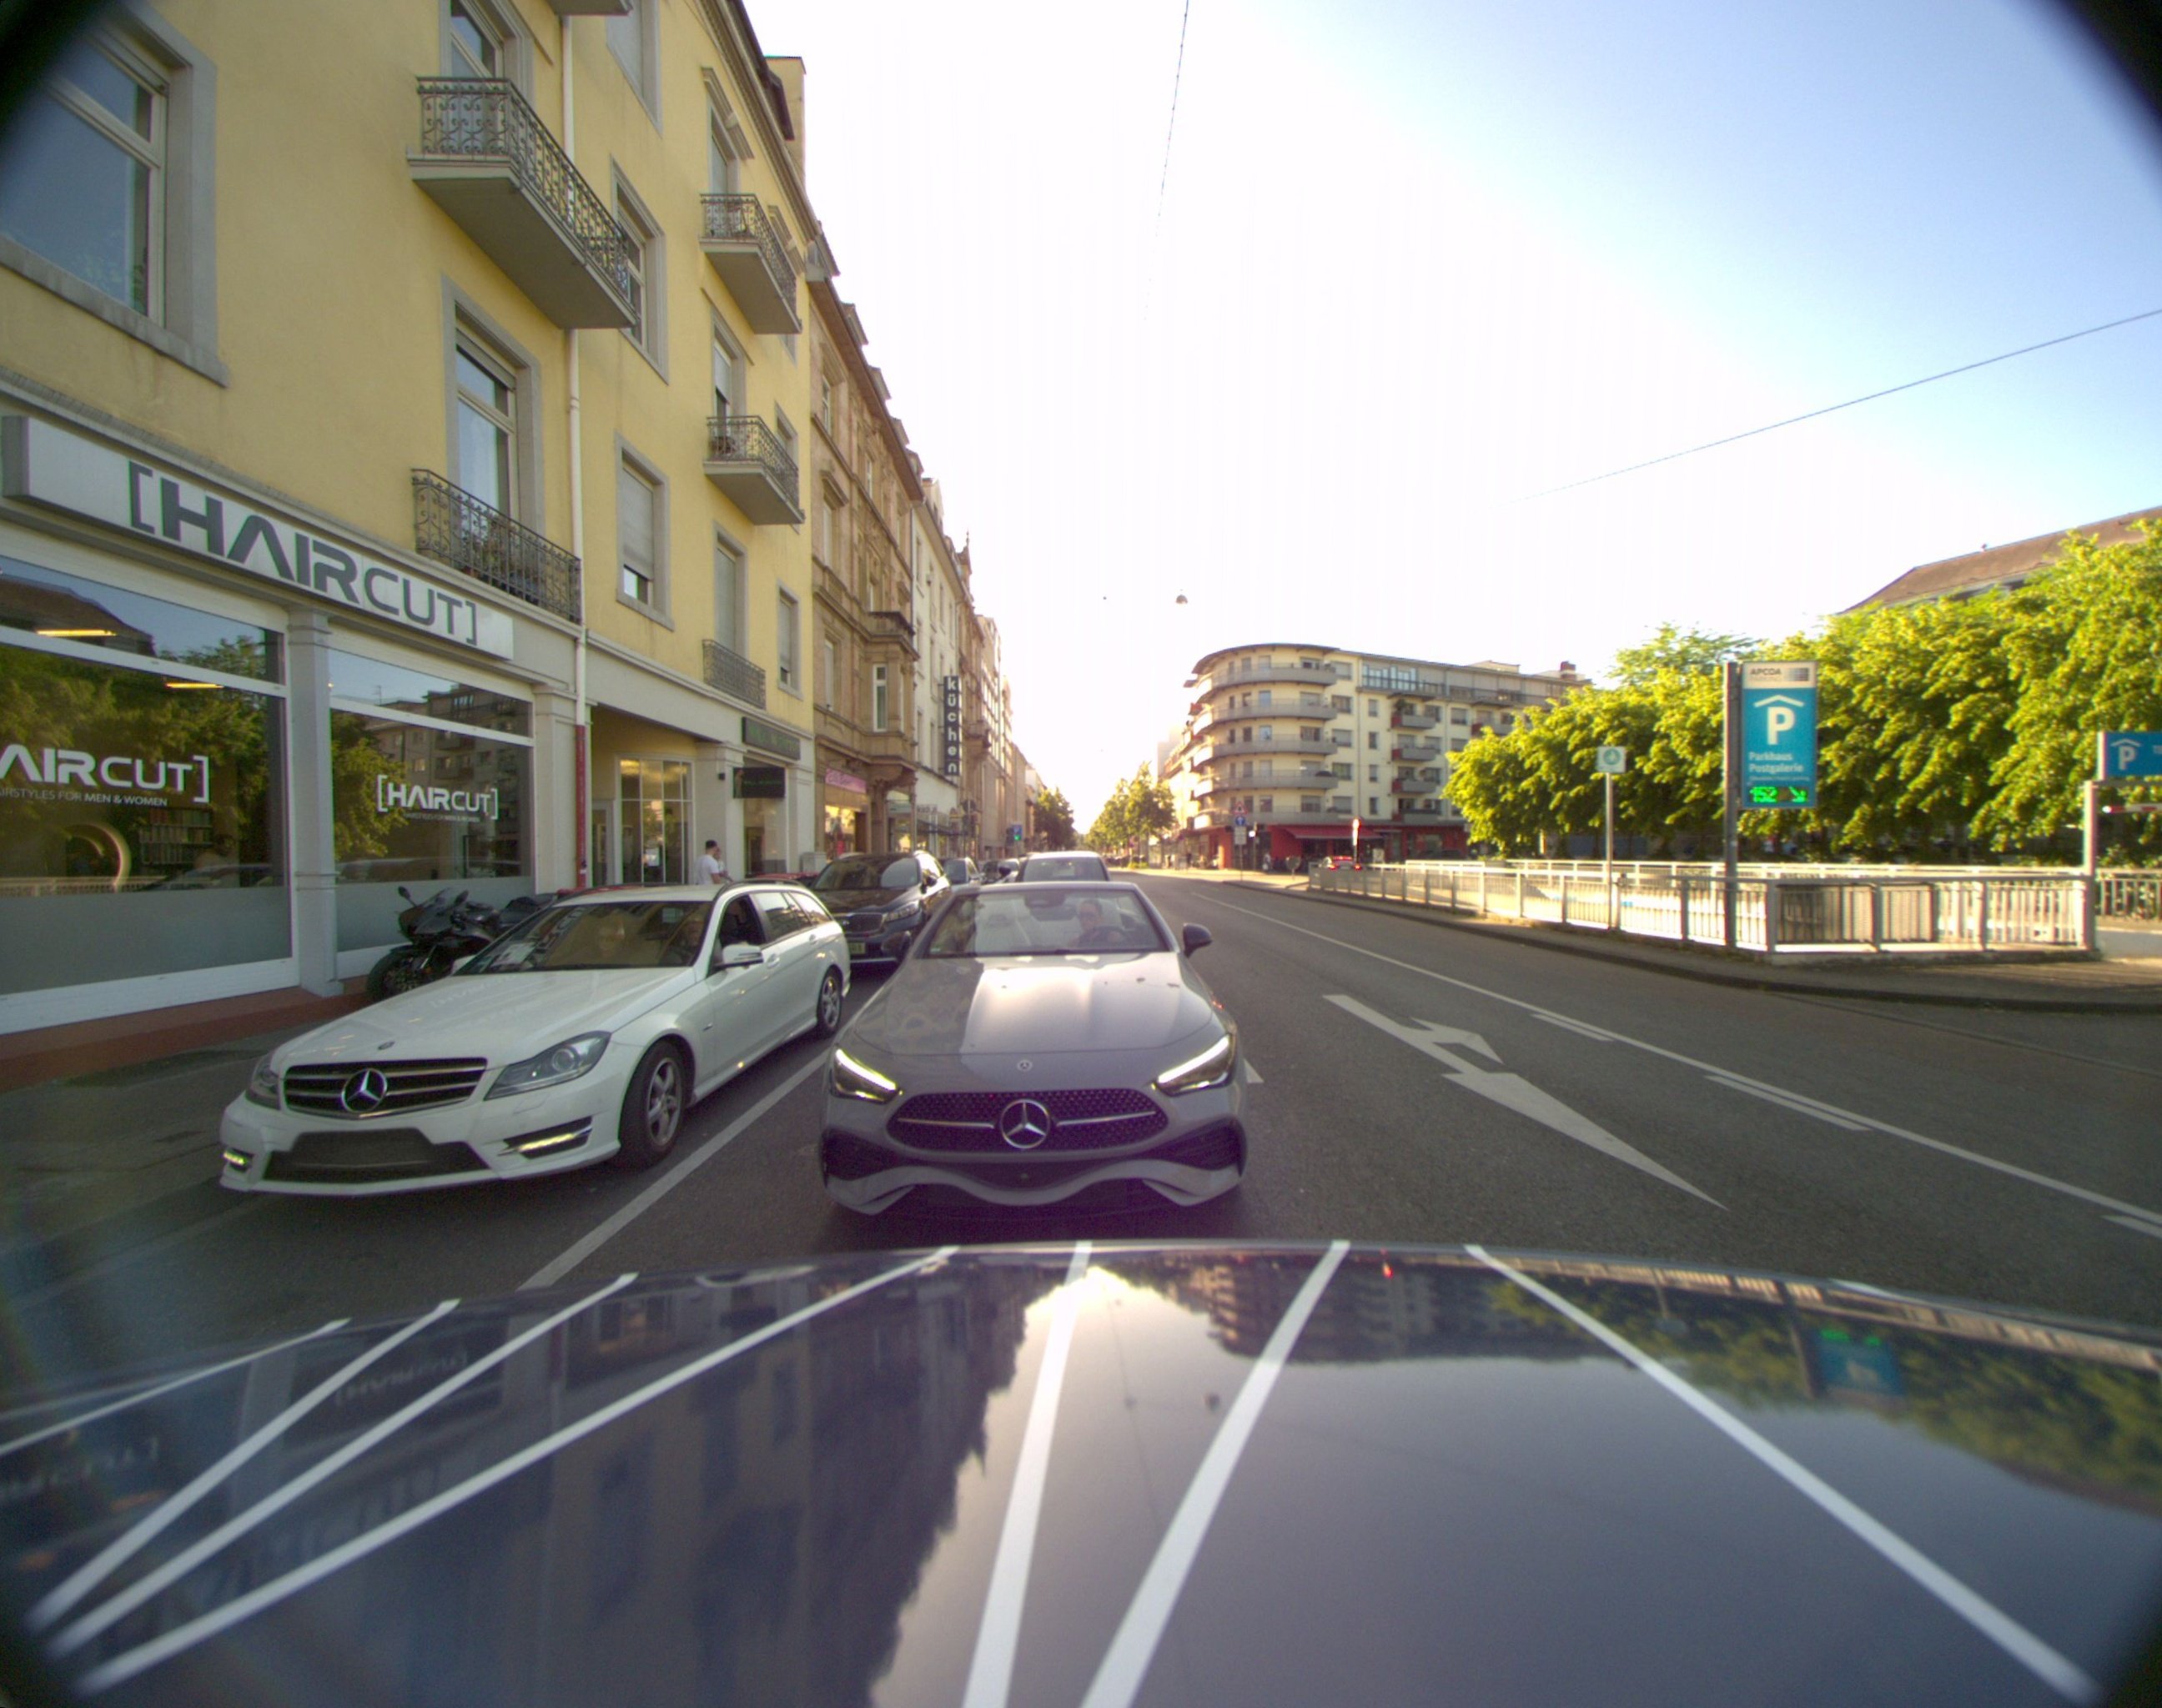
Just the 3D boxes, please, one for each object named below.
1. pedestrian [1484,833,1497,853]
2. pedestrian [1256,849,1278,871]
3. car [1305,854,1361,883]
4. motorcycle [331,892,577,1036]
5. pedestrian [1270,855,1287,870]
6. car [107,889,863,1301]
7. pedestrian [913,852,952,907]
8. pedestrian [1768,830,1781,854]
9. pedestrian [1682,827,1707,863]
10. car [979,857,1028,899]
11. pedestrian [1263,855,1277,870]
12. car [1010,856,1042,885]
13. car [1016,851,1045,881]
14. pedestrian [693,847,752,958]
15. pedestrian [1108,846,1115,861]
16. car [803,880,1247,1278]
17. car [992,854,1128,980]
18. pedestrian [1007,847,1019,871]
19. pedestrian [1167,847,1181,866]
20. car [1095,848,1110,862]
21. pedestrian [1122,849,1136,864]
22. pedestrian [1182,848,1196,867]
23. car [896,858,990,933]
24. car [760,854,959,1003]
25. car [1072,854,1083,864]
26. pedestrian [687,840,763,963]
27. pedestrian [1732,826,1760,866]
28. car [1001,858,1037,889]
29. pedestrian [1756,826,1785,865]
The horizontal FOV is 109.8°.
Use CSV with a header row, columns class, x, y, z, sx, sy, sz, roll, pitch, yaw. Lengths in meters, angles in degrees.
class,x,y,z,sx,sy,sz,roll,pitch,yaw
pedestrian,38.367,-0.995,71.195,0.747,1.832,0.684,-2,1,1
pedestrian,14.418,0.481,58.862,1.269,1.656,1.142,-1,1,43
car,14.132,0.794,42.828,1.676,1.521,4.250,0,-1,-1
motorcycle,-6.260,1.027,7.791,0.735,1.124,2.109,2,1,1
pedestrian,15.433,0.659,59.382,0.937,1.191,0.832,-3,1,-24
car,-3.024,1.076,5.249,1.672,1.364,4.377,-2,1,1
pedestrian,-4.775,0.798,24.479,0.817,1.709,0.839,-1,2,42
pedestrian,46.277,-0.800,50.712,0.494,1.570,0.493,-3,1,-24
pedestrian,31.888,-0.452,39.478,0.748,1.832,0.683,-3,1,-21
car,-3.023,0.907,30.314,1.695,1.482,3.796,-2,1,-3
pedestrian,14.926,0.671,60.041,0.780,1.191,0.884,-2,1,-10
car,-2.939,0.871,40.952,1.461,1.391,3.363,-2,1,-1
car,-3.149,0.722,47.550,1.695,1.670,3.880,-2,1,-3
pedestrian,-6.146,0.799,13.062,0.630,1.826,0.770,-2,1,-7
pedestrian,4.788,-0.099,119.270,1.117,2.328,1.029,-2,1,1
car,-0.279,1.001,5.360,1.769,1.360,4.471,-2,1,-2
car,-0.353,0.893,13.140,1.866,1.658,4.706,-2,1,-2
pedestrian,-5.296,0.382,59.004,0.826,1.750,0.823,-2,1,-1
pedestrian,8.865,0.247,72.474,1.069,1.709,1.080,-2,1,-2
car,2.917,0.078,103.599,1.836,1.831,3.886,1,1,-2
pedestrian,6.058,0.276,95.168,1.224,1.826,1.200,-3,1,-36
pedestrian,9.913,0.321,69.739,1.060,1.739,0.962,-2,1,1
car,-3.179,0.910,17.991,1.583,1.514,2.998,-2,1,1
car,-3.011,0.894,11.340,1.806,1.680,4.408,-2,1,-3
car,-0.564,0.812,120.613,1.695,1.437,3.575,-2,1,-2
pedestrian,-5.693,0.734,12.145,0.975,1.866,0.534,-3,1,-31
pedestrian,32.214,-0.388,36.813,0.748,1.852,0.683,-2,1,-13
car,-2.951,0.905,36.683,1.461,1.310,3.363,-2,1,-1
pedestrian,33.312,-0.419,36.708,0.748,1.832,0.683,-2,1,-13
